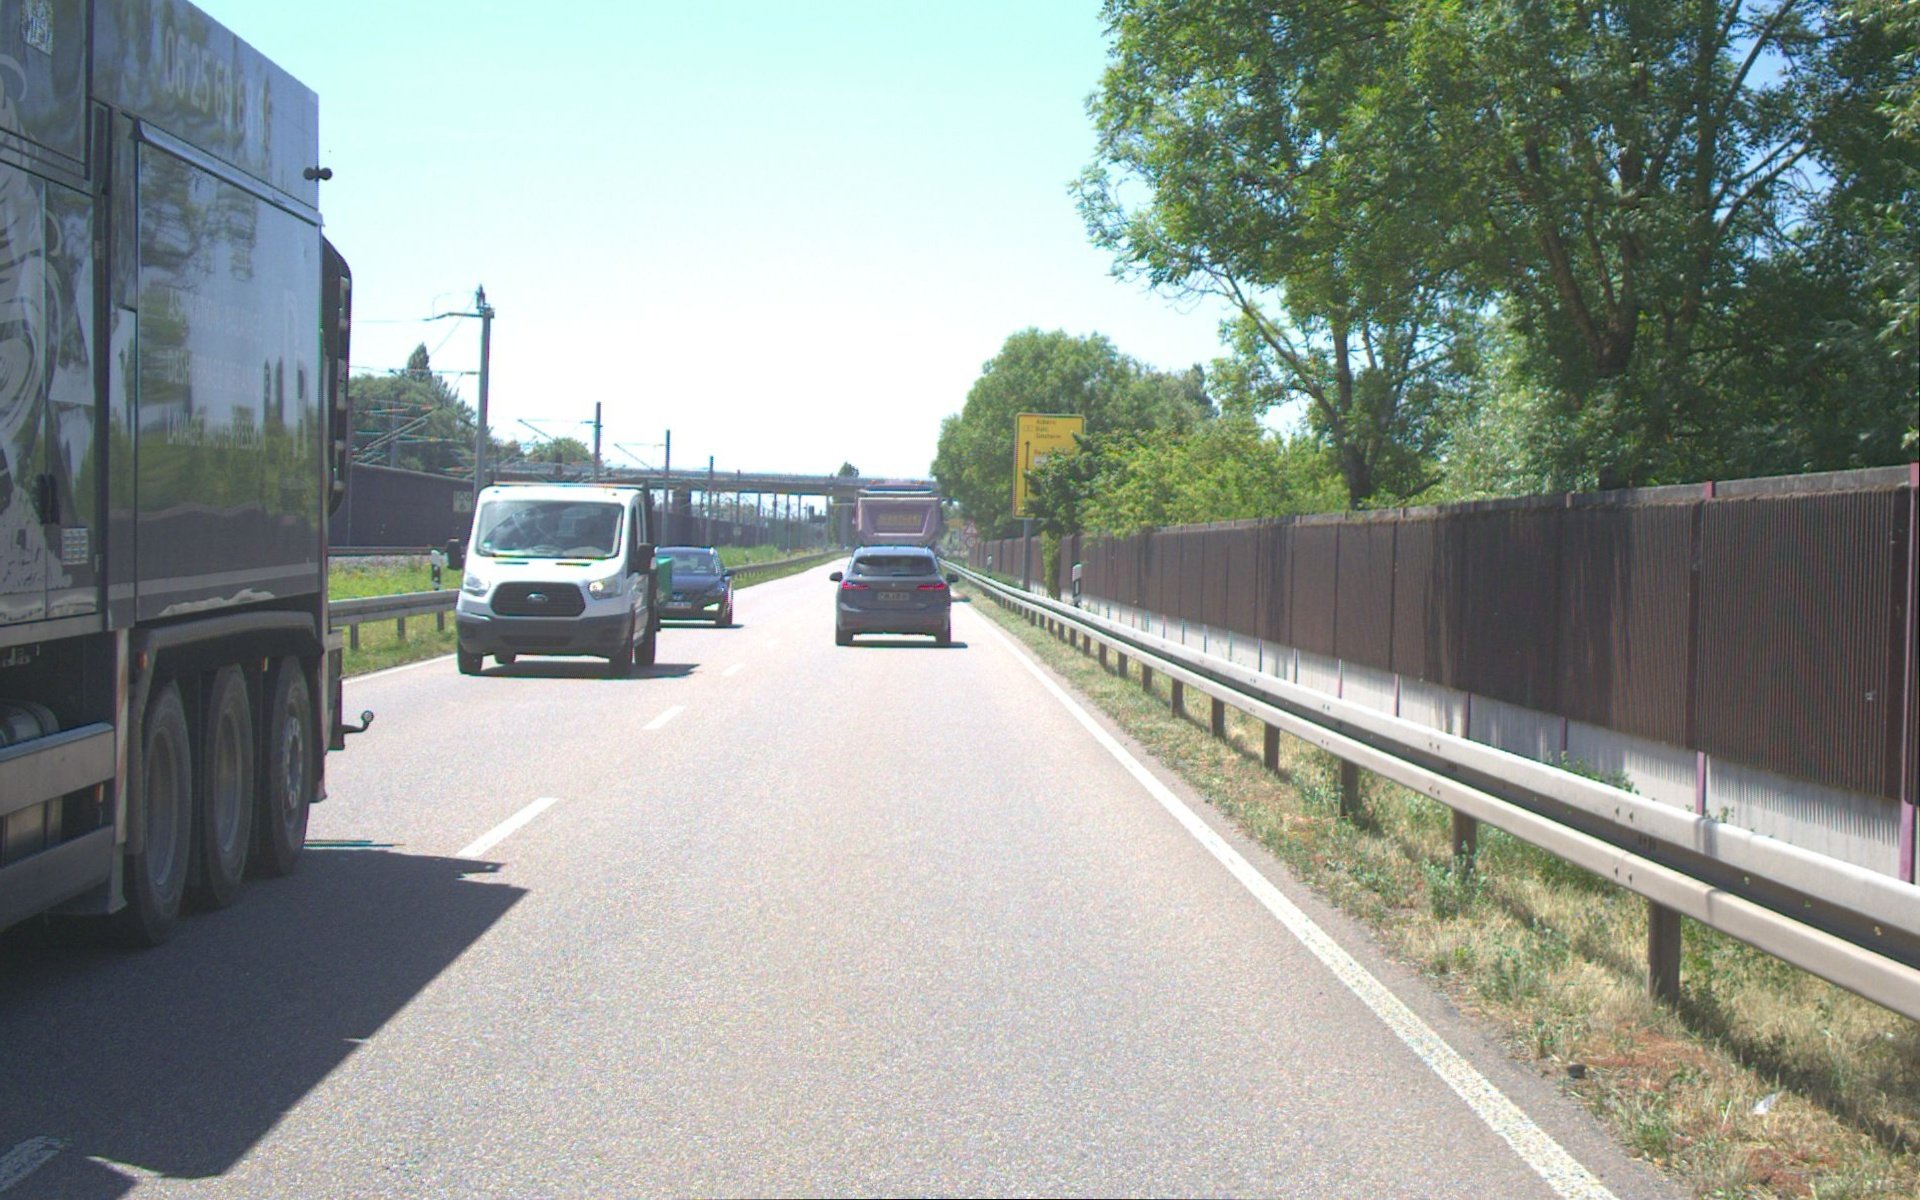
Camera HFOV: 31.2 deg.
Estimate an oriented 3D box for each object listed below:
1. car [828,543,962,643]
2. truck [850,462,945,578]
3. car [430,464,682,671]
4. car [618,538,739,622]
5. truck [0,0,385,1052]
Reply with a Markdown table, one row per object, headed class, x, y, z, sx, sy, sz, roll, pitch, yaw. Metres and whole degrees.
| class | x | y | z | sx | sy | sz | roll | pitch | yaw |
| --- | --- | --- | --- | --- | --- | --- | --- | --- | --- |
| car | -1.071 | -0.139 | 54.706 | 1.993 | 1.503 | 4.001 | 0 | 1 | -3 |
| truck | -1.934 | -2.477 | 107.818 | 2.770 | 3.413 | 10.820 | 1 | 1 | -1 |
| car | -4.797 | -0.418 | 41.801 | 2.261 | 2.279 | 6.235 | 1 | 1 | 0 |
| car | -5.289 | -0.402 | 65.085 | 1.975 | 1.503 | 4.163 | 1 | 1 | -1 |
| truck | -4.159 | -0.567 | 12.228 | 2.658 | 3.614 | 10.979 | 1 | 1 | -2 |
